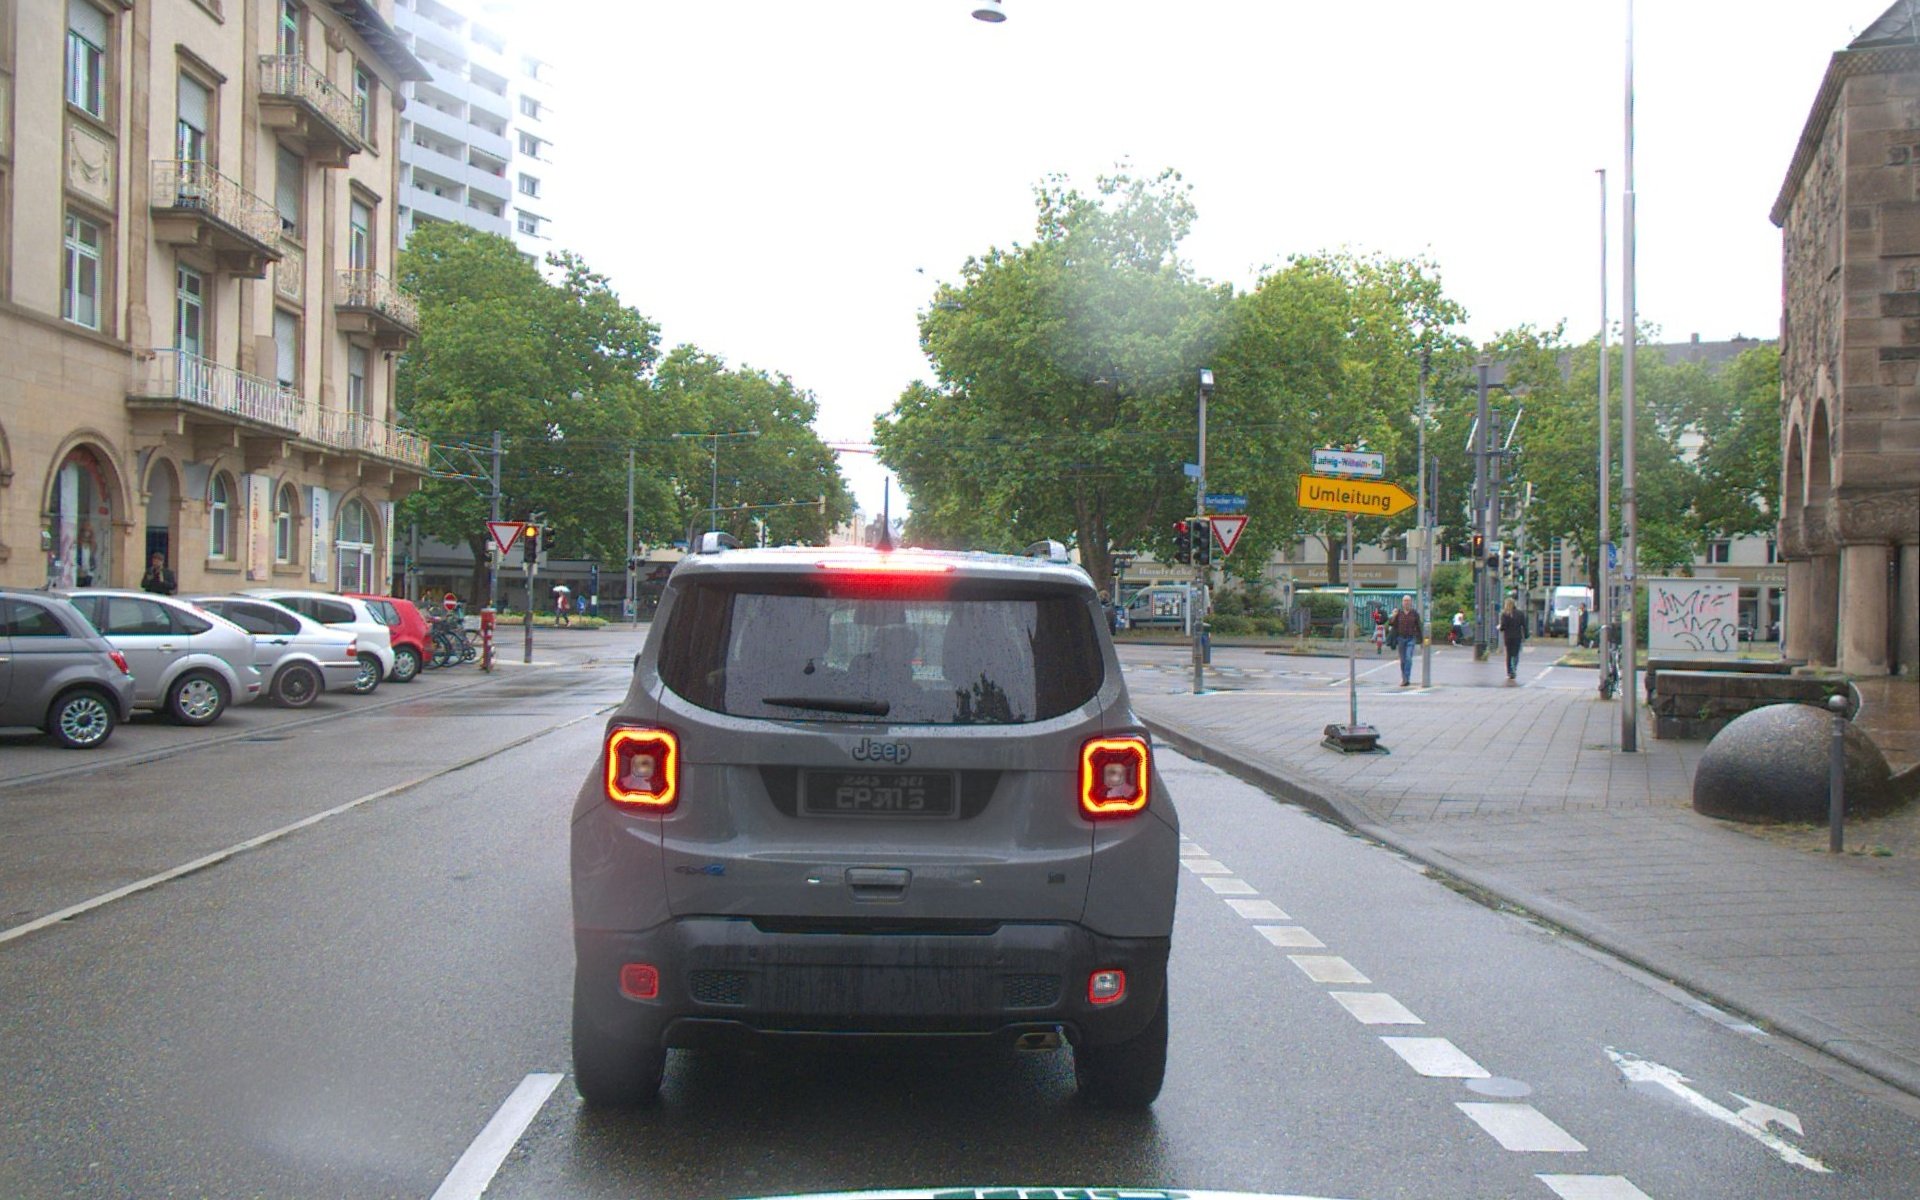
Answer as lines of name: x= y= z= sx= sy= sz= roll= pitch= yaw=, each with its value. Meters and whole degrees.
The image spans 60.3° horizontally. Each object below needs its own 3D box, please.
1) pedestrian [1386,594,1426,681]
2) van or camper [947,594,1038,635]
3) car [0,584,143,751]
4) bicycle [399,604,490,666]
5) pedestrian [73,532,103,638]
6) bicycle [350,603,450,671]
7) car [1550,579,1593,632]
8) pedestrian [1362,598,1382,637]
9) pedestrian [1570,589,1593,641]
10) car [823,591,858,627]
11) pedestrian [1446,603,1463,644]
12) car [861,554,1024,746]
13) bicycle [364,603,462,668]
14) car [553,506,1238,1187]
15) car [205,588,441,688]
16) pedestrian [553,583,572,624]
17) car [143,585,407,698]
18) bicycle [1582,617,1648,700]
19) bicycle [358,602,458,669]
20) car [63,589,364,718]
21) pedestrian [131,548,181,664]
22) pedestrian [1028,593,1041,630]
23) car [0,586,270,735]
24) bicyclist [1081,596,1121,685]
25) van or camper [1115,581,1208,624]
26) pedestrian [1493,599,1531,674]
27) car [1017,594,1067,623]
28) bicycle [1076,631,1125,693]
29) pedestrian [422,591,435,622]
pedestrian: x=9.309 y=0.776 z=34.550 sx=0.769 sy=1.790 sz=0.946 roll=0 pitch=0 yaw=14
van or camper: x=2.436 y=1.069 z=124.773 sx=6.395 sy=2.963 sz=2.493 roll=0 pitch=0 yaw=24
car: x=-9.960 y=0.635 z=16.031 sx=3.372 sy=1.585 sz=1.628 roll=1 pitch=0 yaw=-41
bicycle: x=-10.871 y=0.728 z=34.922 sx=1.728 sy=1.288 sz=0.608 roll=0 pitch=0 yaw=-3
pedestrian: x=-15.429 y=-0.265 z=29.264 sx=0.359 sy=1.854 sz=0.347 roll=0 pitch=-1 yaw=-4
bicycle: x=-10.750 y=0.701 z=31.787 sx=1.728 sy=1.288 sz=0.522 roll=0 pitch=0 yaw=-3
car: x=31.214 y=0.288 z=84.333 sx=1.868 sy=2.600 sz=4.786 roll=0 pitch=0 yaw=22
pedestrian: x=17.013 y=0.738 z=68.270 sx=0.660 sy=1.581 sz=0.761 roll=0 pitch=-2 yaw=27
pedestrian: x=24.605 y=0.578 z=65.471 sx=0.789 sy=2.049 sz=0.589 roll=0 pitch=0 yaw=26
car: x=-6.113 y=0.444 z=84.305 sx=1.688 sy=1.769 sz=3.726 roll=1 pitch=0 yaw=-5
pedestrian: x=19.902 y=0.946 z=66.524 sx=0.600 sy=1.631 sz=0.494 roll=0 pitch=0 yaw=23
car: x=-0.235 y=0.537 z=19.826 sx=1.734 sy=2.049 sz=3.999 roll=1 pitch=0 yaw=-1
bicycle: x=-10.919 y=0.700 z=33.014 sx=1.774 sy=1.288 sz=0.498 roll=0 pitch=0 yaw=-3
car: x=-0.222 y=0.617 z=6.148 sx=1.739 sy=1.716 sz=3.846 roll=0 pitch=0 yaw=-2
car: x=-10.740 y=0.615 z=27.955 sx=3.372 sy=1.585 sz=1.681 roll=1 pitch=0 yaw=-41
pedestrian: x=-18.281 y=0.169 z=76.051 sx=0.605 sy=1.858 sz=0.695 roll=0 pitch=0 yaw=12
car: x=-10.353 y=0.595 z=25.094 sx=3.372 sy=1.585 sz=1.681 roll=1 pitch=0 yaw=-41
bicycle: x=9.846 y=0.856 z=24.915 sx=0.322 sy=1.174 sz=2.076 roll=0 pitch=0 yaw=4
bicycle: x=-10.778 y=0.693 z=32.333 sx=1.774 sy=1.288 sz=0.498 roll=0 pitch=0 yaw=-3
car: x=-10.000 y=0.672 z=22.242 sx=3.372 sy=1.585 sz=1.681 roll=1 pitch=0 yaw=-41
pedestrian: x=-14.458 y=0.107 z=29.741 sx=0.556 sy=2.049 sz=0.654 roll=1 pitch=0 yaw=-1
pedestrian: x=4.168 y=0.628 z=92.406 sx=0.637 sy=2.049 sz=0.483 roll=1 pitch=0 yaw=11
car: x=-9.955 y=0.651 z=19.060 sx=3.372 sy=1.585 sz=1.681 roll=1 pitch=0 yaw=-41
bicyclist: x=2.649 y=0.751 z=30.978 sx=0.672 sy=1.646 sz=0.884 roll=0 pitch=0 yaw=10
van or camper: x=11.529 y=0.133 z=94.967 sx=5.149 sy=2.356 sz=2.090 roll=1 pitch=0 yaw=3
pedestrian: x=12.435 y=0.805 z=37.275 sx=0.767 sy=1.674 sz=0.655 roll=0 pitch=0 yaw=23
car: x=5.904 y=0.605 z=119.414 sx=3.363 sy=2.049 sz=1.549 roll=0 pitch=-1 yaw=12
bicycle: x=2.647 y=1.136 z=30.939 sx=0.677 sy=1.039 sz=2.660 roll=0 pitch=0 yaw=10
pedestrian: x=-27.198 y=0.316 z=84.656 sx=0.433 sy=1.556 sz=0.643 roll=1 pitch=0 yaw=-3
